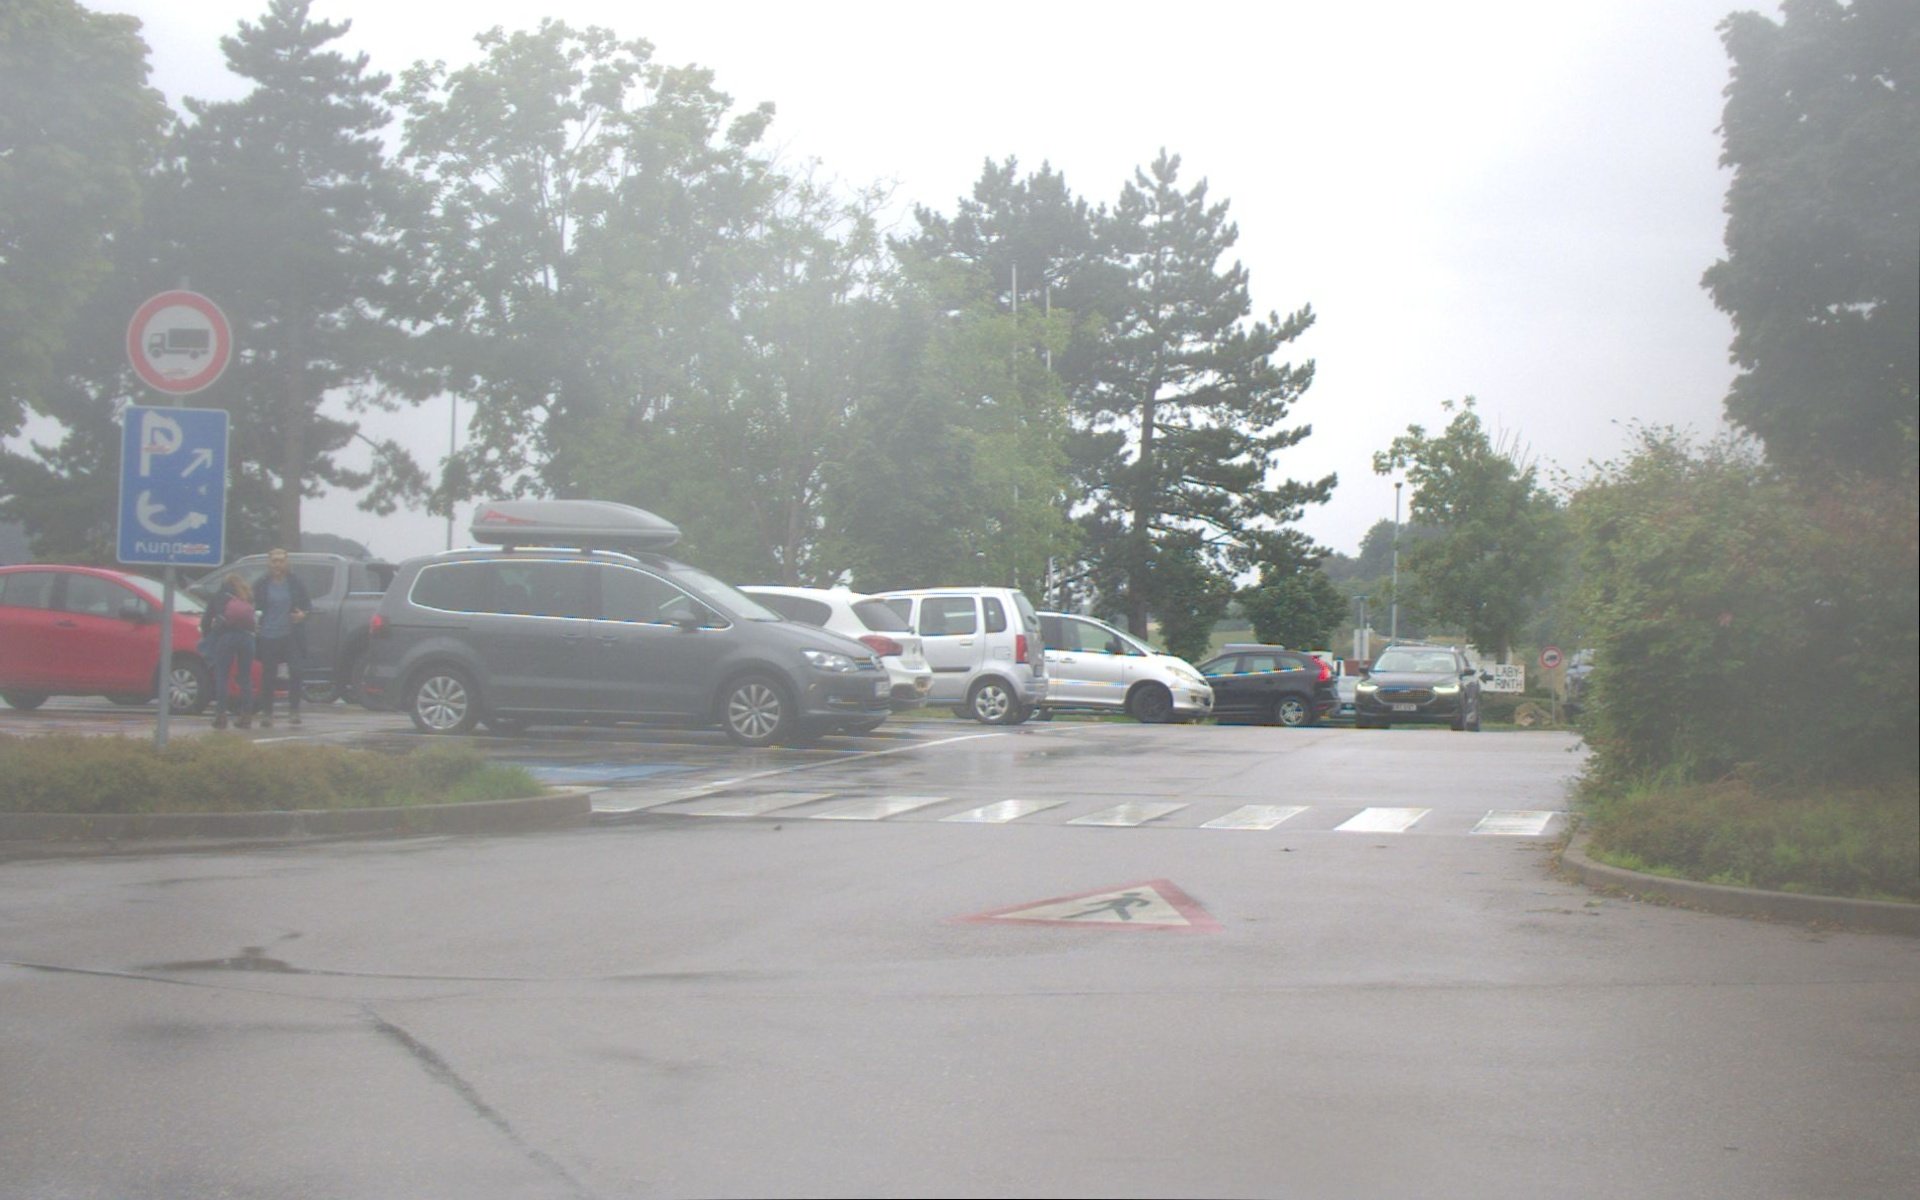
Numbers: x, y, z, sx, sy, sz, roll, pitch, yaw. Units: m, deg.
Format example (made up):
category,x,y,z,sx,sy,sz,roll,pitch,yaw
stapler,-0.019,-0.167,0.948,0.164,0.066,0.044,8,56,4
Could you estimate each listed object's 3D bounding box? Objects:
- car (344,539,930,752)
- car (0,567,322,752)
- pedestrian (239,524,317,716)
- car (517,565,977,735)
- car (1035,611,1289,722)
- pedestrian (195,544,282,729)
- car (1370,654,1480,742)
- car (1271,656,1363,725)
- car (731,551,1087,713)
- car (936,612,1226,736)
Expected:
category,x,y,z,sx,sy,sz,roll,pitch,yaw
car,-2.906,0.384,31.379,4.937,1.786,1.999,1,0,11
car,-8.851,0.577,35.544,4.012,1.786,1.850,1,0,11
pedestrian,-6.259,0.195,31.523,0.609,1.719,0.684,3,-2,-13
car,-2.079,0.461,33.952,4.186,1.512,1.742,1,1,13
car,3.707,1.201,62.696,4.356,1.856,1.850,2,0,11
pedestrian,-6.469,0.332,30.830,0.713,1.633,0.646,1,-2,-11
car,7.810,1.653,57.513,1.645,1.366,3.998,2,-2,10
car,7.640,1.943,73.343,1.645,1.366,3.811,2,-2,10
car,-0.594,0.398,42.008,4.012,1.856,1.850,1,-2,11
car,1.954,1.180,54.808,4.356,1.856,1.850,1,-2,11
